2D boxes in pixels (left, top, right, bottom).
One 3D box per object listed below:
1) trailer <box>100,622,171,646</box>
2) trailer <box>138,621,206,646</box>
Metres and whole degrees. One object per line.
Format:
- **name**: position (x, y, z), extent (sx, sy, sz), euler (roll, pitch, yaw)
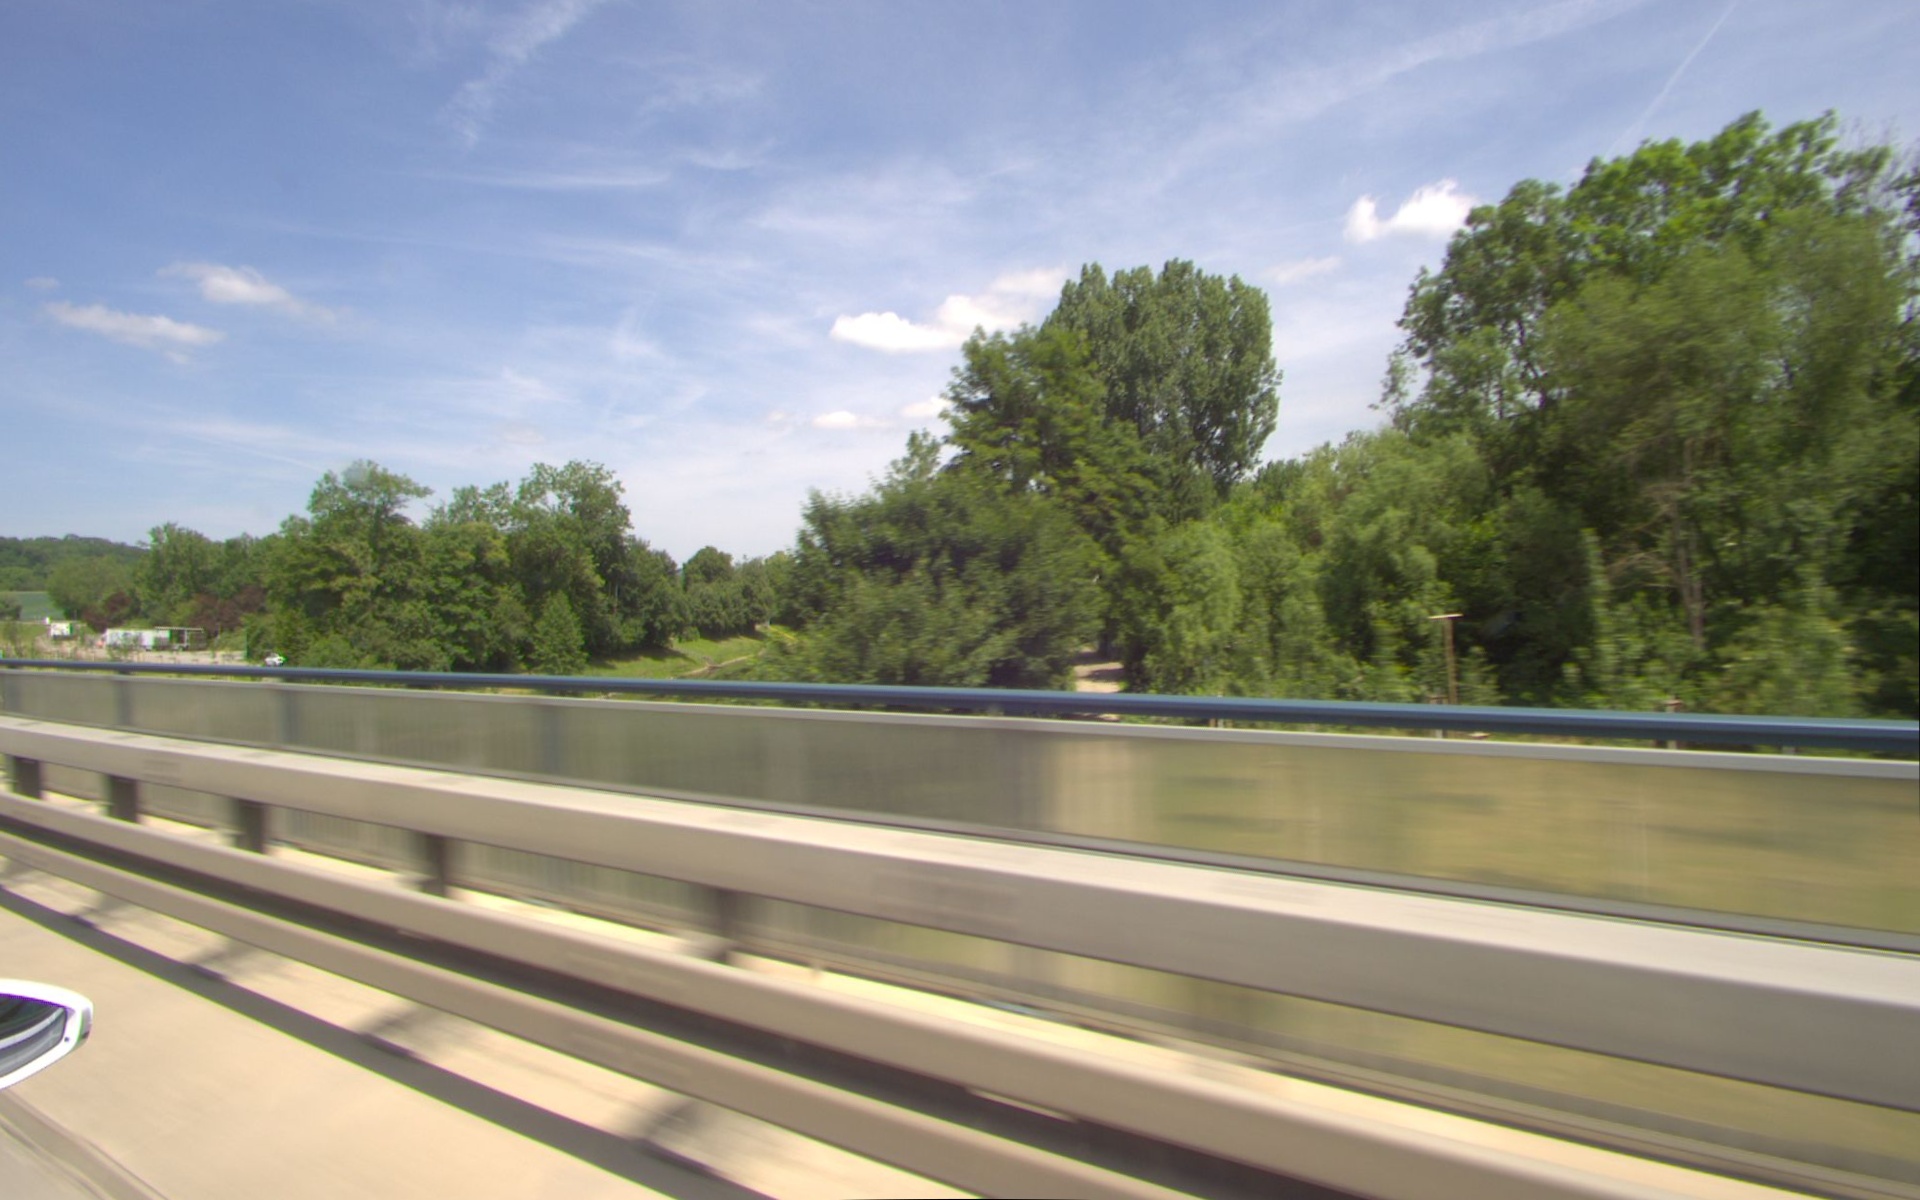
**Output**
- **trailer**: position (-127.982, 5.215, 155.326), extent (11.682, 3.371, 2.723), euler (0, 0, 19)
- **trailer**: position (-123.561, 5.185, 156.972), extent (11.687, 3.653, 2.722), euler (1, -1, 21)
